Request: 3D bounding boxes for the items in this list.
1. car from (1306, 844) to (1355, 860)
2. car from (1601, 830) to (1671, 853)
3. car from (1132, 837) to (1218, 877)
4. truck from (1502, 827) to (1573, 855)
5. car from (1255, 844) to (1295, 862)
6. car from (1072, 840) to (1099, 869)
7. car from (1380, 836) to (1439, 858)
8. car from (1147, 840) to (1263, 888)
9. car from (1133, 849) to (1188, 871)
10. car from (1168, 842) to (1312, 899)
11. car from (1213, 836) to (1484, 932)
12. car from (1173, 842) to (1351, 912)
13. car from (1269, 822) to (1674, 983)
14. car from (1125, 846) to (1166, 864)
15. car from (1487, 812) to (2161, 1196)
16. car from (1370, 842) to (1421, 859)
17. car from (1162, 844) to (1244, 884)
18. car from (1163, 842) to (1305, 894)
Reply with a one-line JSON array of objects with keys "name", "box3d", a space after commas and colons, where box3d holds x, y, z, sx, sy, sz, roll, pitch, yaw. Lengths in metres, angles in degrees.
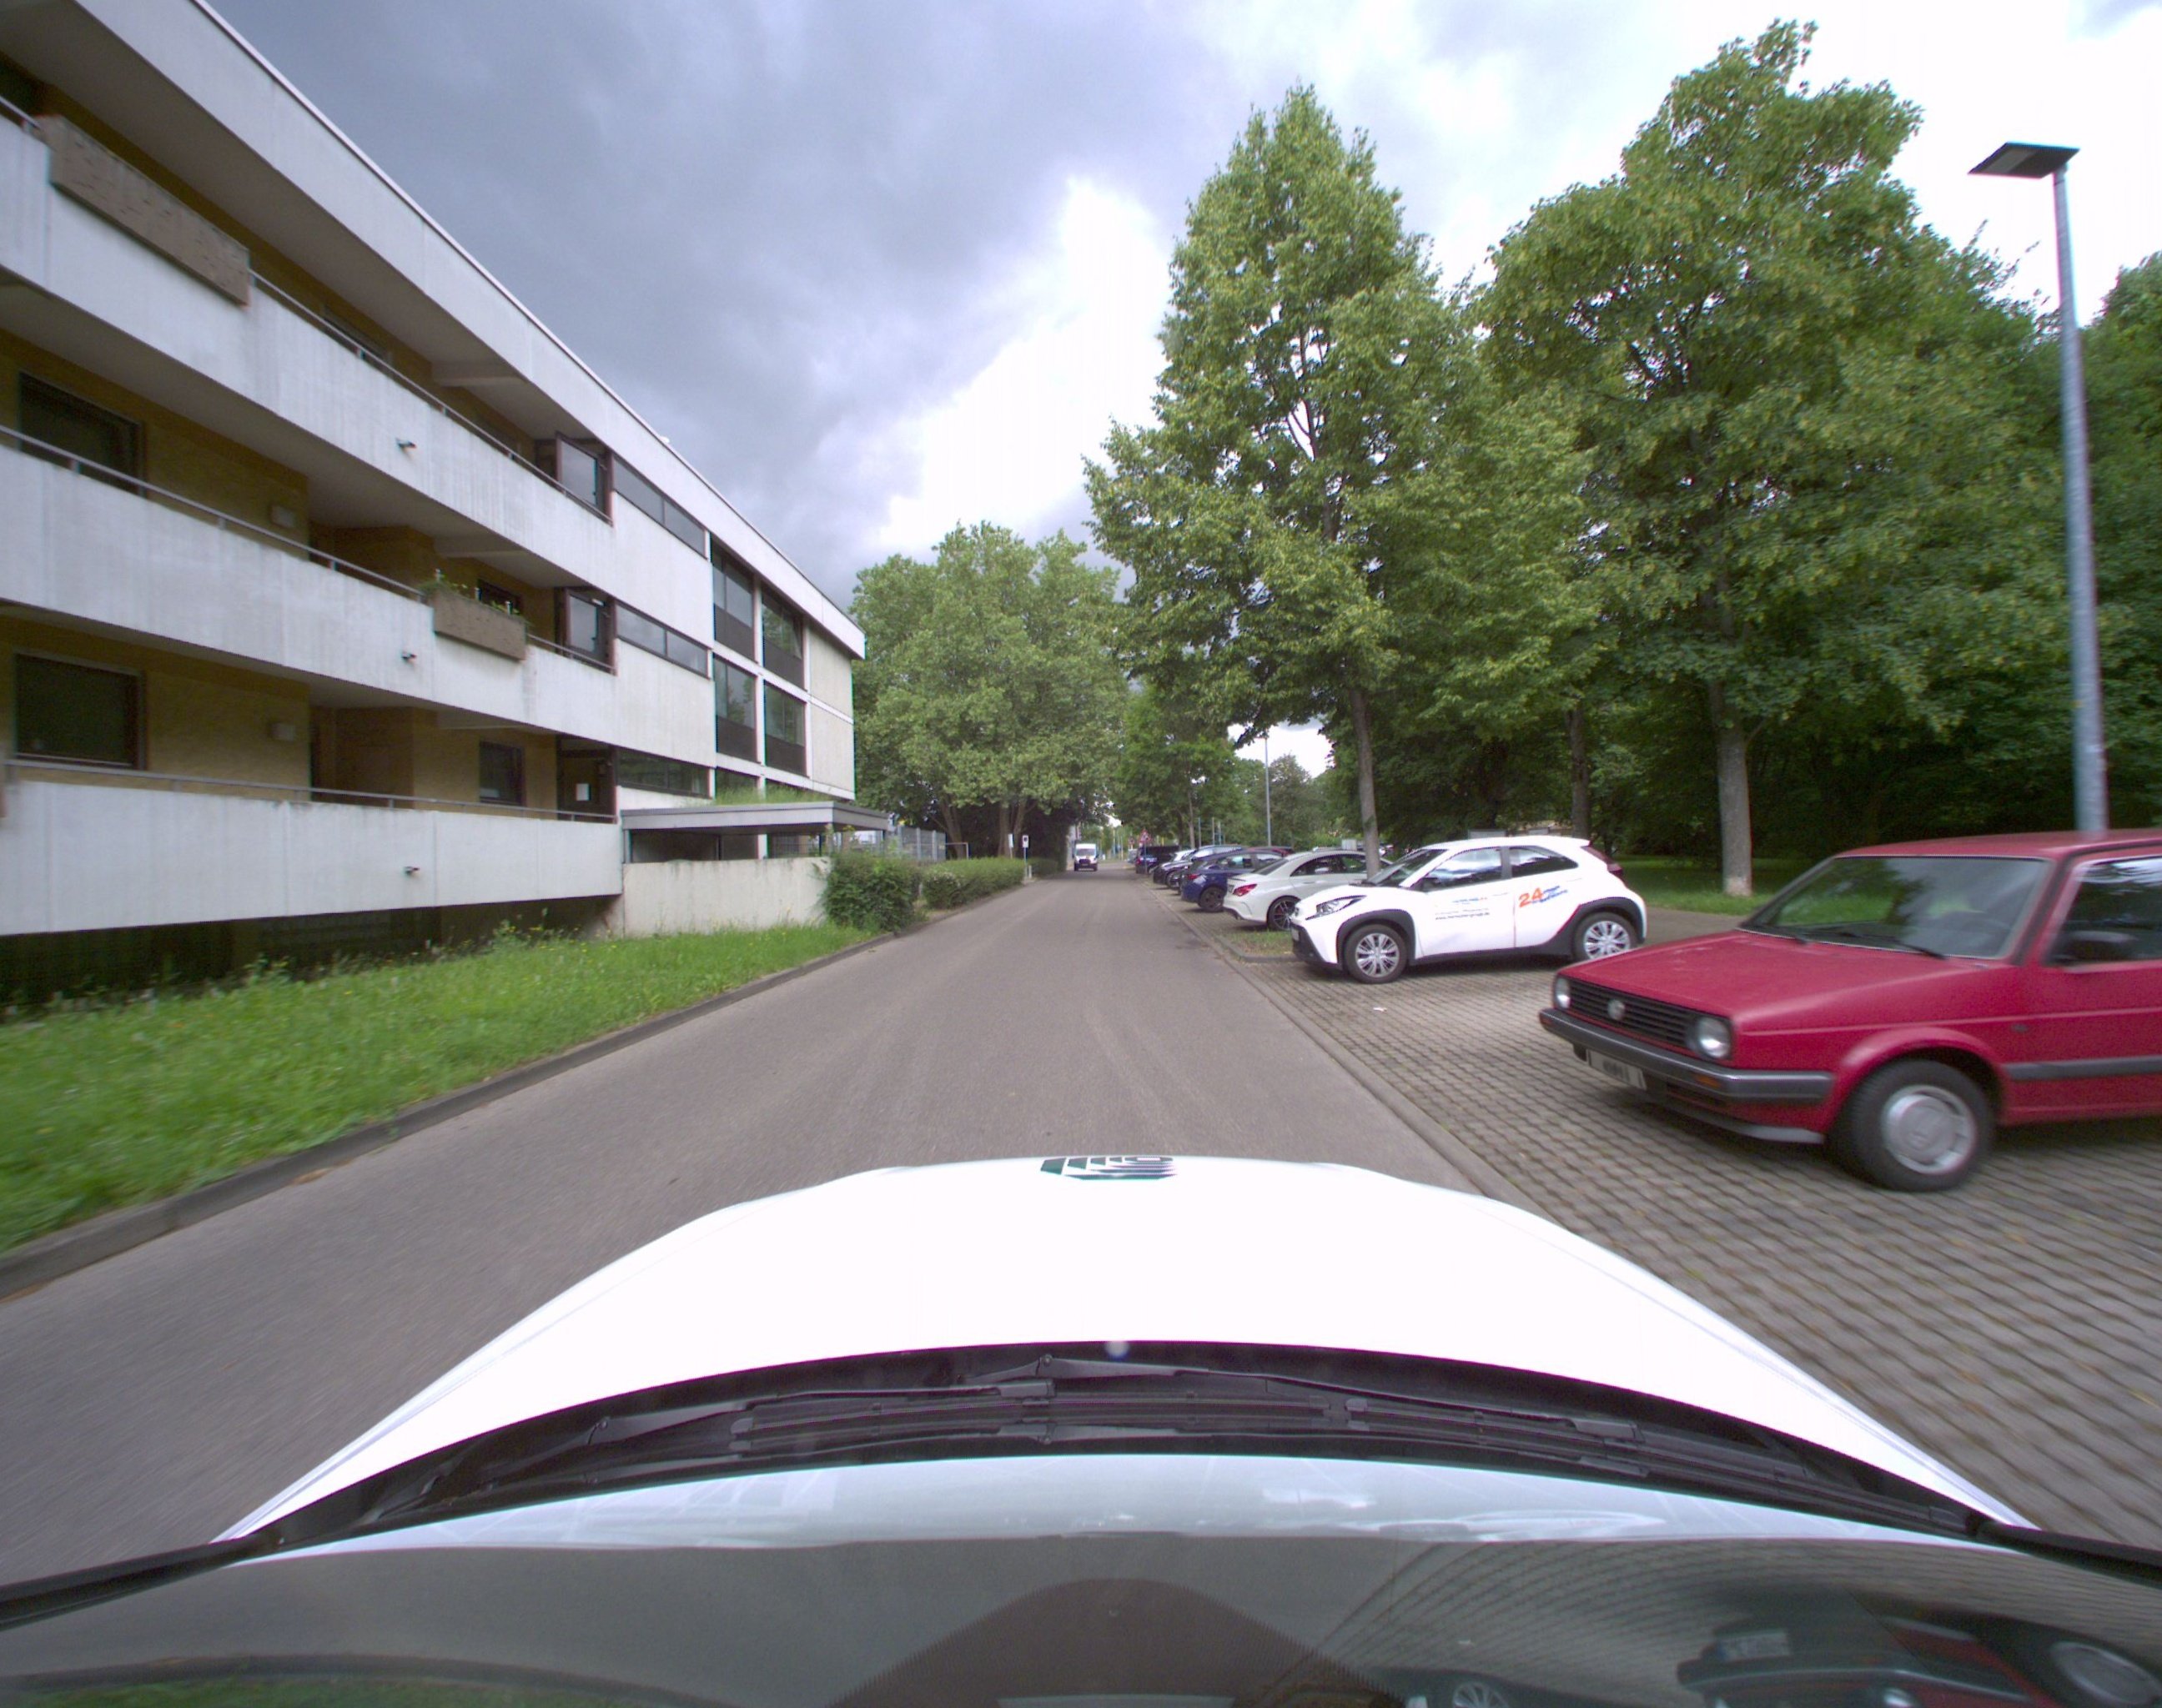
[{"name": "car", "box3d": [24.560, -0.167, 80.231, 4.368, 1.428, 1.707, -2, -1, 7]}, {"name": "car", "box3d": [55.400, -1.212, 81.369, 5.289, 2.057, 2.142, -2, 0, 8]}, {"name": "car", "box3d": [5.620, 0.189, 49.060, 4.934, 2.013, 2.167, -4, 0, 3]}, {"name": "truck", "box3d": [43.508, -1.219, 77.768, 5.475, 2.426, 2.198, -2, -1, 8]}, {"name": "car", "box3d": [19.223, -0.113, 80.896, 3.757, 1.668, 1.772, -2, 0, 9]}, {"name": "car", "box3d": [0.435, 0.008, 74.142, 2.123, 2.476, 6.282, 0, 0, 3]}, {"name": "car", "box3d": [33.685, -0.732, 83.631, 5.289, 2.057, 2.142, -2, 0, 8]}, {"name": "car", "box3d": [5.033, 0.396, 33.546, 4.399, 1.676, 2.083, -3, 0, 1]}, {"name": "car", "box3d": [6.007, 0.493, 61.803, 3.972, 1.430, 1.936, -3, -1, 1]}, {"name": "car", "box3d": [4.927, 0.503, 25.624, 4.062, 1.517, 1.850, -3, 0, -2]}, {"name": "car", "box3d": [4.884, 0.544, 15.367, 4.469, 1.454, 1.847, -3, 0, 1]}, {"name": "car", "box3d": [4.458, 0.562, 20.539, 4.056, 1.456, 1.852, -3, 0, 2]}, {"name": "car", "box3d": [4.330, 0.527, 9.578, 3.823, 1.515, 1.883, -3, 0, 4]}, {"name": "car", "box3d": [8.058, 0.088, 102.351, 4.952, 1.972, 1.848, -3, 0, 2]}, {"name": "car", "box3d": [4.593, 0.564, 4.213, 4.041, 1.422, 1.817, -3, 0, 0]}, {"name": "car", "box3d": [30.592, -0.336, 79.294, 4.403, 1.428, 1.707, -2, -1, 8]}, {"name": "car", "box3d": [5.375, 0.429, 36.209, 3.366, 1.574, 1.797, -3, 0, 2]}, {"name": "car", "box3d": [5.244, 0.462, 28.462, 4.617, 1.517, 1.984, -3, 0, 3]}]
